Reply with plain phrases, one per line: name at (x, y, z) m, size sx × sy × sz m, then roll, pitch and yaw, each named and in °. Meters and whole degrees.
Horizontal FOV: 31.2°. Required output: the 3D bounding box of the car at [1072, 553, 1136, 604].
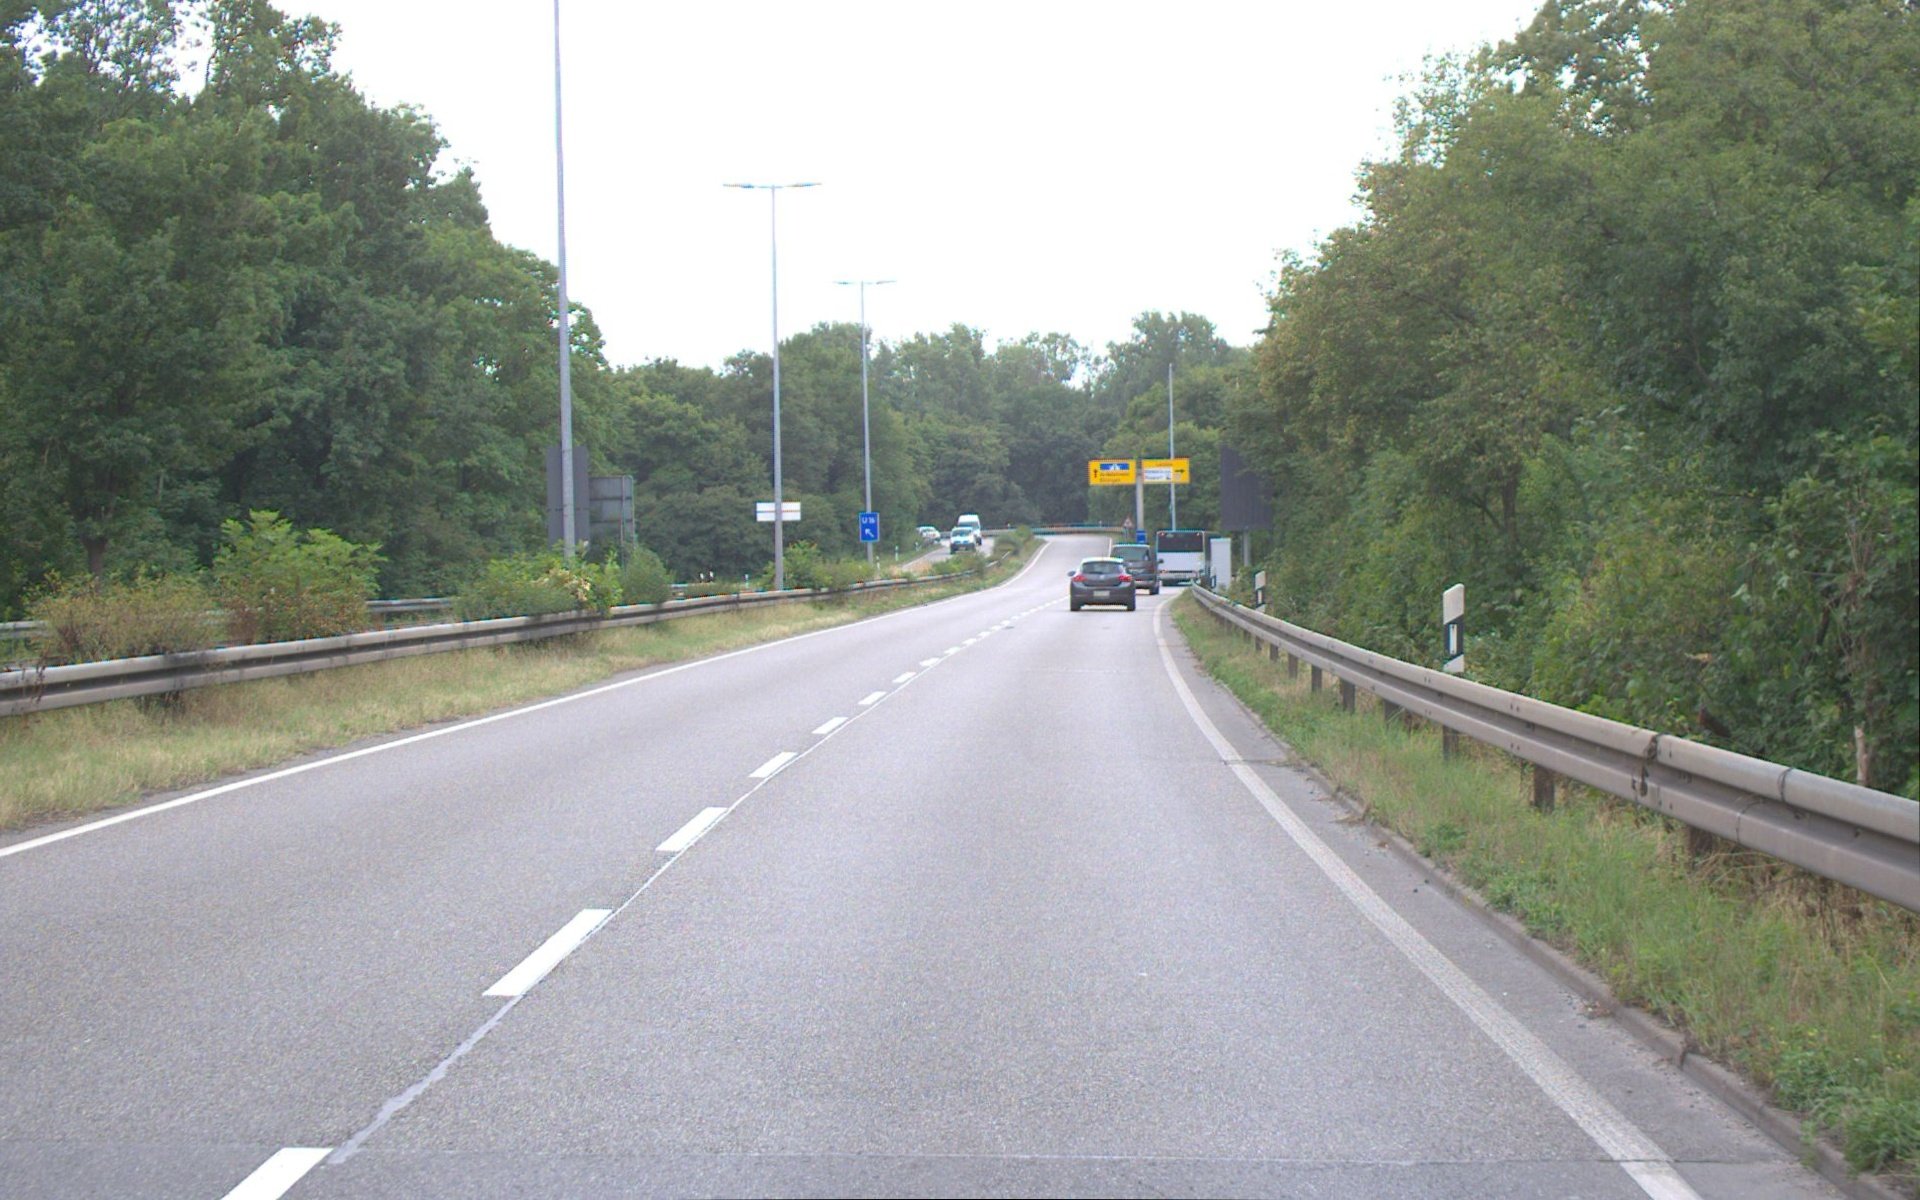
car at (4.016, -0.582, 95.595) m, size 1.625 × 1.373 × 3.999 m, roll 0°, pitch 0°, yaw 4°

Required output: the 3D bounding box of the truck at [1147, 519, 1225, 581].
truck at (11.425, -2.477, 172.851) m, size 2.982 × 2.875 × 7.987 m, roll -1°, pitch 0°, yaw 10°

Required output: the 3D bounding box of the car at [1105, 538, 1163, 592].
car at (6.850, -1.363, 134.949) m, size 2.148 × 2.007 × 3.999 m, roll 0°, pitch 0°, yaw 4°
